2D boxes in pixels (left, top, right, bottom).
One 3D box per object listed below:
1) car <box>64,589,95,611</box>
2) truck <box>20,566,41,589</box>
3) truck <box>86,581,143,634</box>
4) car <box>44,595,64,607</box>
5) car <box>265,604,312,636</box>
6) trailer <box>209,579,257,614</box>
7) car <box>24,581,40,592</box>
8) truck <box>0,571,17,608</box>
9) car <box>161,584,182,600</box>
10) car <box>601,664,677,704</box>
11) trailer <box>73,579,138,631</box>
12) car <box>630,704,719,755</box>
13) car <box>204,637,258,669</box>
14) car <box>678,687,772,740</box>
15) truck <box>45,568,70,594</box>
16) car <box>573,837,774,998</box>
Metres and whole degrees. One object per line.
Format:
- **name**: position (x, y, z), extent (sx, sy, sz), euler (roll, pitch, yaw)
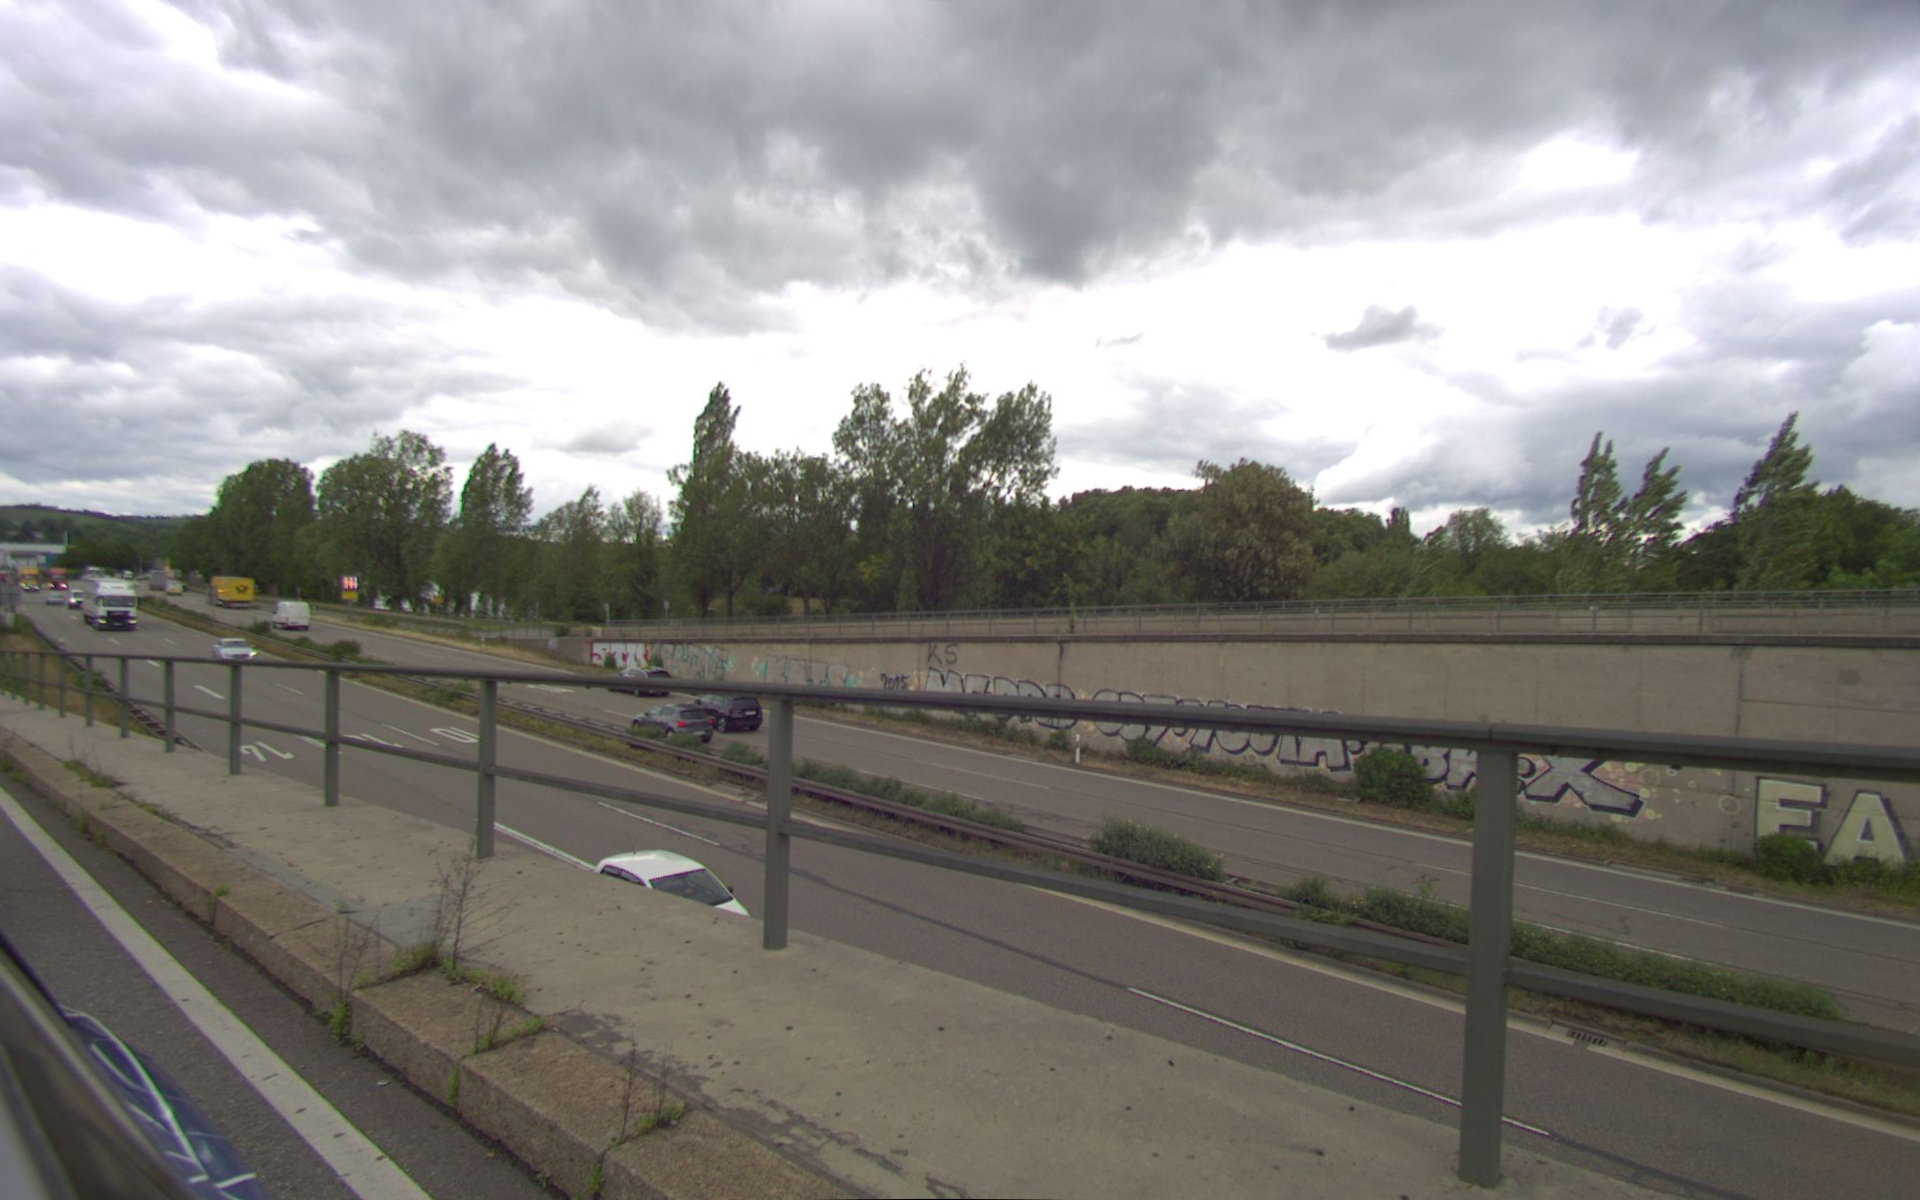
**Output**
- **car**: position (-101.428, 0.011, 116.553), extent (6.502, 2.259, 2.076), euler (3, 0, 43)
- **truck**: position (-179.174, -4.350, 195.017), extent (8.175, 4.153, 2.382), euler (3, 1, 44)
- **truck**: position (-71.308, 0.611, 85.326), extent (5.876, 4.140, 2.969), euler (2, 0, 44)
- **car**: position (-111.236, 0.110, 124.283), extent (3.538, 1.383, 1.492), euler (3, 0, 43)
- **car**: position (-62.371, 1.831, 93.988), extent (6.101, 2.613, 2.144), euler (2, 0, 42)
- **trailer**: position (-97.037, -0.524, 134.937), extent (3.203, 4.294, 13.691), euler (2, 0, -44)
- **car**: position (-159.266, -2.361, 173.685), extent (4.002, 1.679, 1.786), euler (2, 1, 44)
- **truck**: position (-115.582, -1.309, 121.530), extent (3.059, 4.040, 8.497), euler (1, 2, -45)
- **car**: position (-144.123, -1.441, 184.924), extent (6.715, 2.648, 1.972), euler (2, -1, 43)
- **car**: position (-17.332, 4.496, 54.545), extent (4.635, 1.664, 1.839), euler (2, 0, 44)
- **trailer**: position (-76.506, 0.354, 90.435), extent (13.994, 4.140, 2.969), euler (2, 0, 44)
- **car**: position (-11.237, 5.032, 39.719), extent (3.651, 1.464, 1.695), euler (3, 1, 43)
- **car**: position (-44.903, 3.210, 62.309), extent (4.439, 1.582, 1.830), euler (3, 2, 43)
- **car**: position (-10.146, 4.836, 43.560), extent (4.183, 1.731, 1.861), euler (2, 0, 43)
- **truck**: position (-176.965, -3.744, 198.418), extent (9.922, 4.774, 2.717), euler (2, -2, 44)
- **car**: position (-4.882, 5.206, 17.054), extent (3.337, 1.539, 1.745), euler (2, 0, 43)
